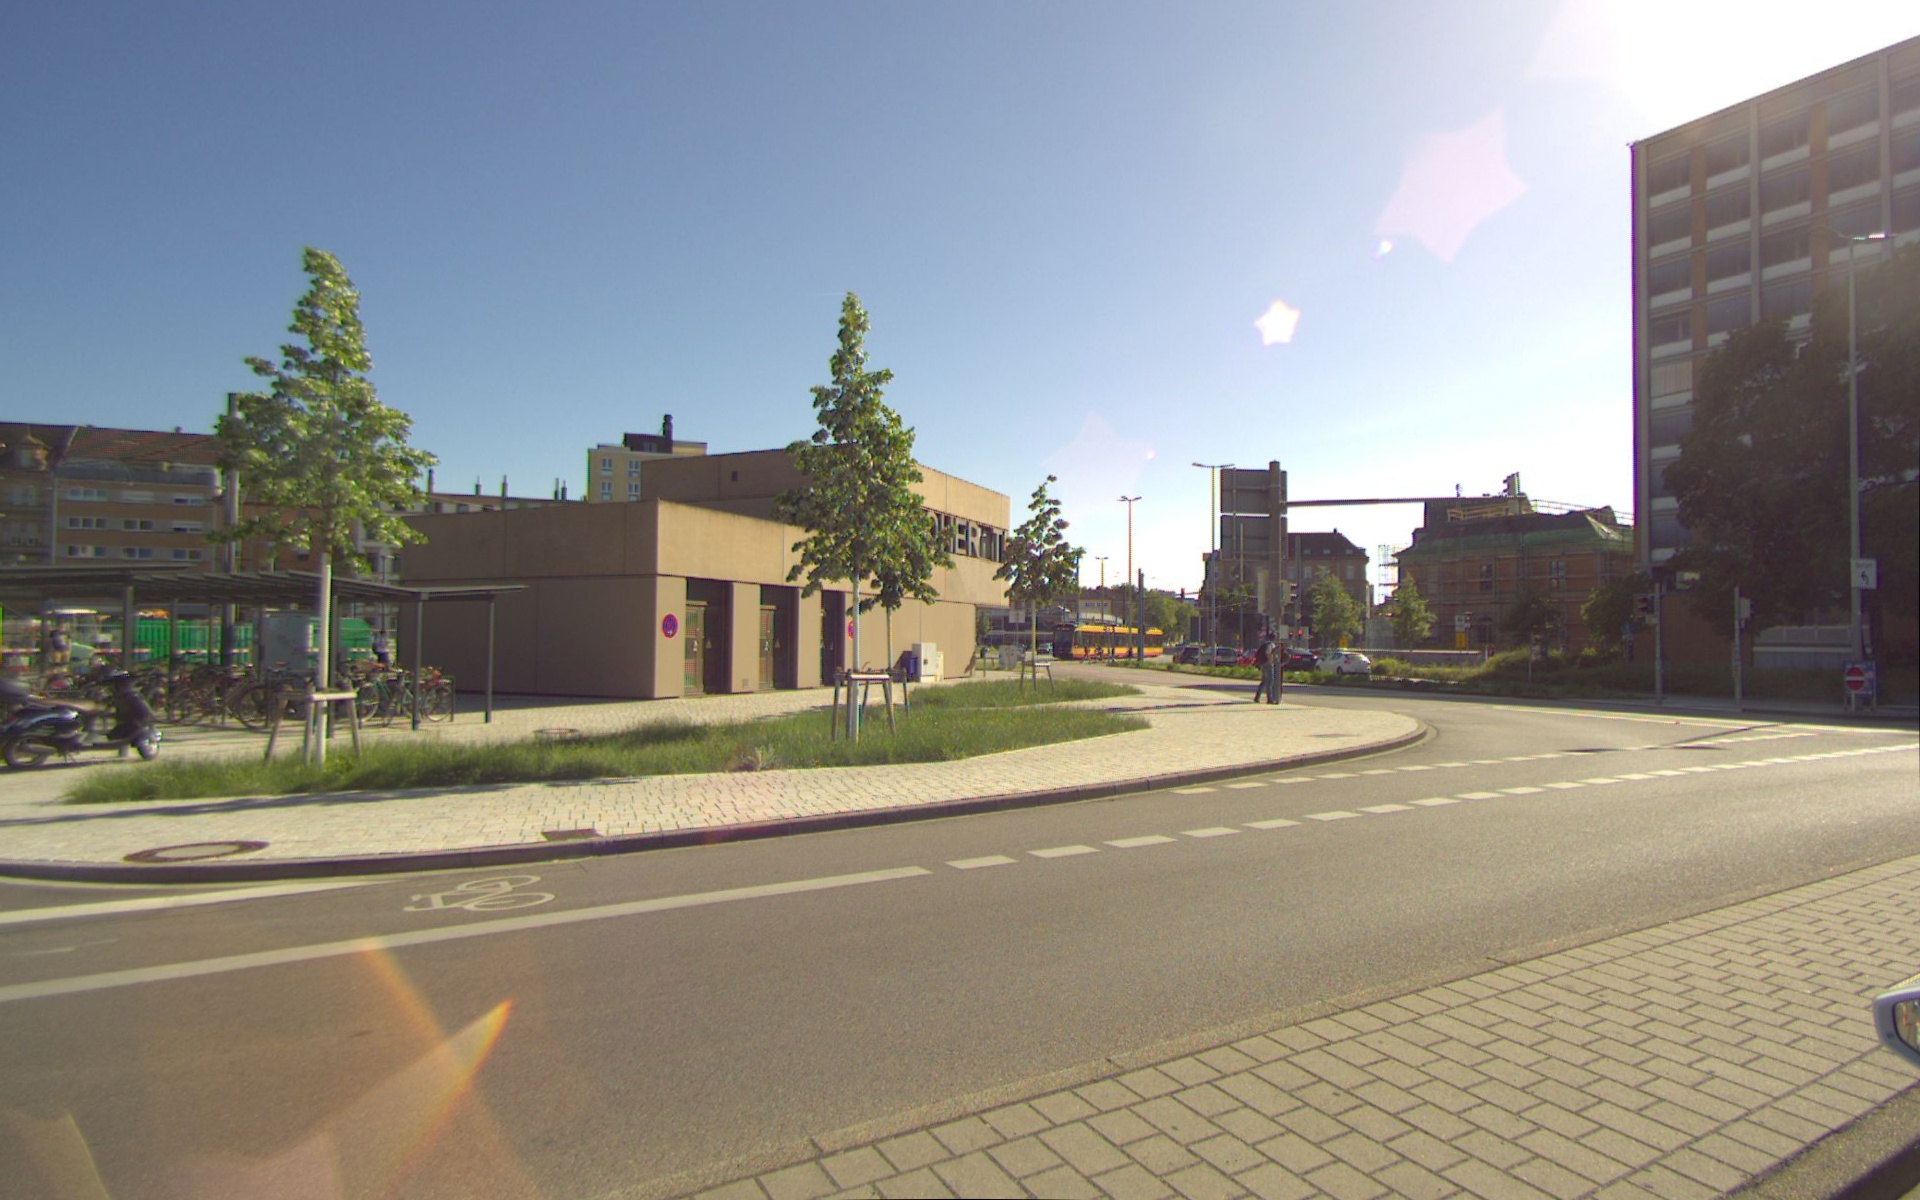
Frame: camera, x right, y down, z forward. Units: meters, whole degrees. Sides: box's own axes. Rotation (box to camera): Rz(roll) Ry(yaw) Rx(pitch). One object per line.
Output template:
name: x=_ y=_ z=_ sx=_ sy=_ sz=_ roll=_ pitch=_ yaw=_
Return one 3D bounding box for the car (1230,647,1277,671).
car: x=20.205 y=4.037 z=69.251 sx=1.760 sy=1.528 sz=3.880 roll=1 pitch=-2 yaw=-6

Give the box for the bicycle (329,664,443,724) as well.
bicycle: x=-10.711 y=1.738 z=18.820 sx=0.449 sy=1.022 sz=1.902 roll=0 pitch=-2 yaw=26

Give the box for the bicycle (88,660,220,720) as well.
bicycle: x=-15.085 y=1.660 z=18.865 sx=0.449 sy=1.022 sz=1.902 roll=0 pitch=-2 yaw=26

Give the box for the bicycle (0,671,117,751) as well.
bicycle: x=-13.033 y=1.541 z=14.016 sx=0.449 sy=1.022 sz=1.902 roll=0 pitch=-2 yaw=26

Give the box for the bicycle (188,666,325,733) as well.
bicycle: x=-11.893 y=1.656 z=17.060 sx=0.449 sy=1.022 sz=1.902 roll=0 pitch=-2 yaw=26

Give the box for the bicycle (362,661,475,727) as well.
bicycle: x=-9.931 y=1.701 z=18.491 sx=0.449 sy=1.112 sz=1.902 roll=0 pitch=-2 yaw=26

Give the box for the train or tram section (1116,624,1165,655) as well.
train or tram section: x=20.927 y=4.435 z=115.855 sx=2.651 sy=3.275 sz=10.589 roll=2 pitch=0 yaw=27

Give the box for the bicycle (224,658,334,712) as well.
bicycle: x=-14.077 y=1.733 z=20.830 sx=0.449 sy=1.022 sz=1.902 roll=0 pitch=-2 yaw=26

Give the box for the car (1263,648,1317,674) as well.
car: x=20.575 y=3.772 z=62.791 sx=1.760 sy=1.528 sz=3.880 roll=1 pitch=-2 yaw=-6

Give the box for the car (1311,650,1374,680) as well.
car: x=21.248 y=3.598 z=55.934 sx=1.760 sy=1.528 sz=3.880 roll=1 pitch=-2 yaw=-6

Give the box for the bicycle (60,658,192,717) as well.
bicycle: x=-15.921 y=1.648 z=19.241 sx=0.449 sy=1.022 sz=1.902 roll=0 pitch=-2 yaw=26

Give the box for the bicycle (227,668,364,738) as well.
bicycle: x=-10.914 y=1.667 z=16.571 sx=0.449 sy=1.022 sz=1.902 roll=0 pitch=-2 yaw=26

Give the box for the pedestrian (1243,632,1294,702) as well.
pedestrian: x=7.802 y=1.684 z=25.414 sx=1.044 sy=1.753 sz=0.652 roll=1 pitch=-2 yaw=-16

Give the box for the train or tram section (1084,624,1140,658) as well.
train or tram section: x=16.205 y=4.245 z=106.327 sx=2.651 sy=3.275 sz=10.589 roll=2 pitch=0 yaw=27

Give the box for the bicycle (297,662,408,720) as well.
bicycle: x=-11.801 y=1.748 z=19.578 sx=0.449 sy=1.022 sz=1.902 roll=0 pitch=-2 yaw=26

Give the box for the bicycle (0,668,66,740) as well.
bicycle: x=-14.163 y=1.512 z=14.447 sx=0.449 sy=1.022 sz=1.902 roll=0 pitch=-2 yaw=26

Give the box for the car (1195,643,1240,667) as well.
car: x=17.457 y=3.698 z=68.272 sx=1.760 sy=1.528 sz=3.880 roll=1 pitch=-2 yaw=-6

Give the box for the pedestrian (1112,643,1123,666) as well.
pedestrian: x=12.841 y=4.429 z=81.675 sx=0.761 sy=1.786 sz=0.706 roll=1 pitch=-2 yaw=-1

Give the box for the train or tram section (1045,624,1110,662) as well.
train or tram section: x=11.461 y=4.054 z=96.831 sx=2.651 sy=3.275 sz=10.589 roll=2 pitch=0 yaw=27

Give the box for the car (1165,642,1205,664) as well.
car: x=16.776 y=3.934 z=74.998 sx=1.760 sy=1.528 sz=3.880 roll=1 pitch=-2 yaw=-6

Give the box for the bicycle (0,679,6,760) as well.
bicycle: x=-12.749 y=1.488 z=12.004 sx=0.449 sy=1.022 sz=1.902 roll=0 pitch=-2 yaw=26

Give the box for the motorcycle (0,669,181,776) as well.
motorcycle: x=-10.924 y=1.479 z=12.471 sx=0.508 sy=1.166 sz=1.947 roll=0 pitch=-2 yaw=25

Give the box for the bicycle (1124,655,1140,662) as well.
bicycle: x=14.517 y=4.911 z=84.737 sx=1.381 sy=0.556 sz=0.435 roll=0 pitch=-2 yaw=11

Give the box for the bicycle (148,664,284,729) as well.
bicycle: x=-12.903 y=1.653 z=17.490 sx=0.449 sy=1.022 sz=1.902 roll=0 pitch=-2 yaw=26

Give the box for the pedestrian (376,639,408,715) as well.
pedestrian: x=-15.667 y=2.107 z=27.726 sx=0.710 sy=2.040 sz=0.682 roll=1 pitch=-2 yaw=-30

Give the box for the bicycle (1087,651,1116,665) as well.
bicycle: x=11.989 y=4.878 z=85.085 sx=2.370 sy=1.076 sz=0.811 roll=2 pitch=0 yaw=4

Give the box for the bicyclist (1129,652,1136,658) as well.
bicyclist: x=14.538 y=4.634 z=84.749 sx=0.560 sy=0.556 sz=0.431 roll=0 pitch=-2 yaw=11

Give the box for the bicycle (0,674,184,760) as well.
bicycle: x=-11.819 y=1.560 z=13.724 sx=0.449 sy=1.022 sz=1.902 roll=0 pitch=-2 yaw=26

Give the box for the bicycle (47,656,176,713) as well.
bicycle: x=-16.704 y=1.643 z=19.839 sx=0.449 sy=1.022 sz=1.902 roll=0 pitch=-2 yaw=26

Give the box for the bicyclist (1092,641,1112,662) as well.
bicyclist: x=12.026 y=4.372 z=85.095 sx=1.544 sy=1.655 sz=0.811 roll=2 pitch=0 yaw=4
